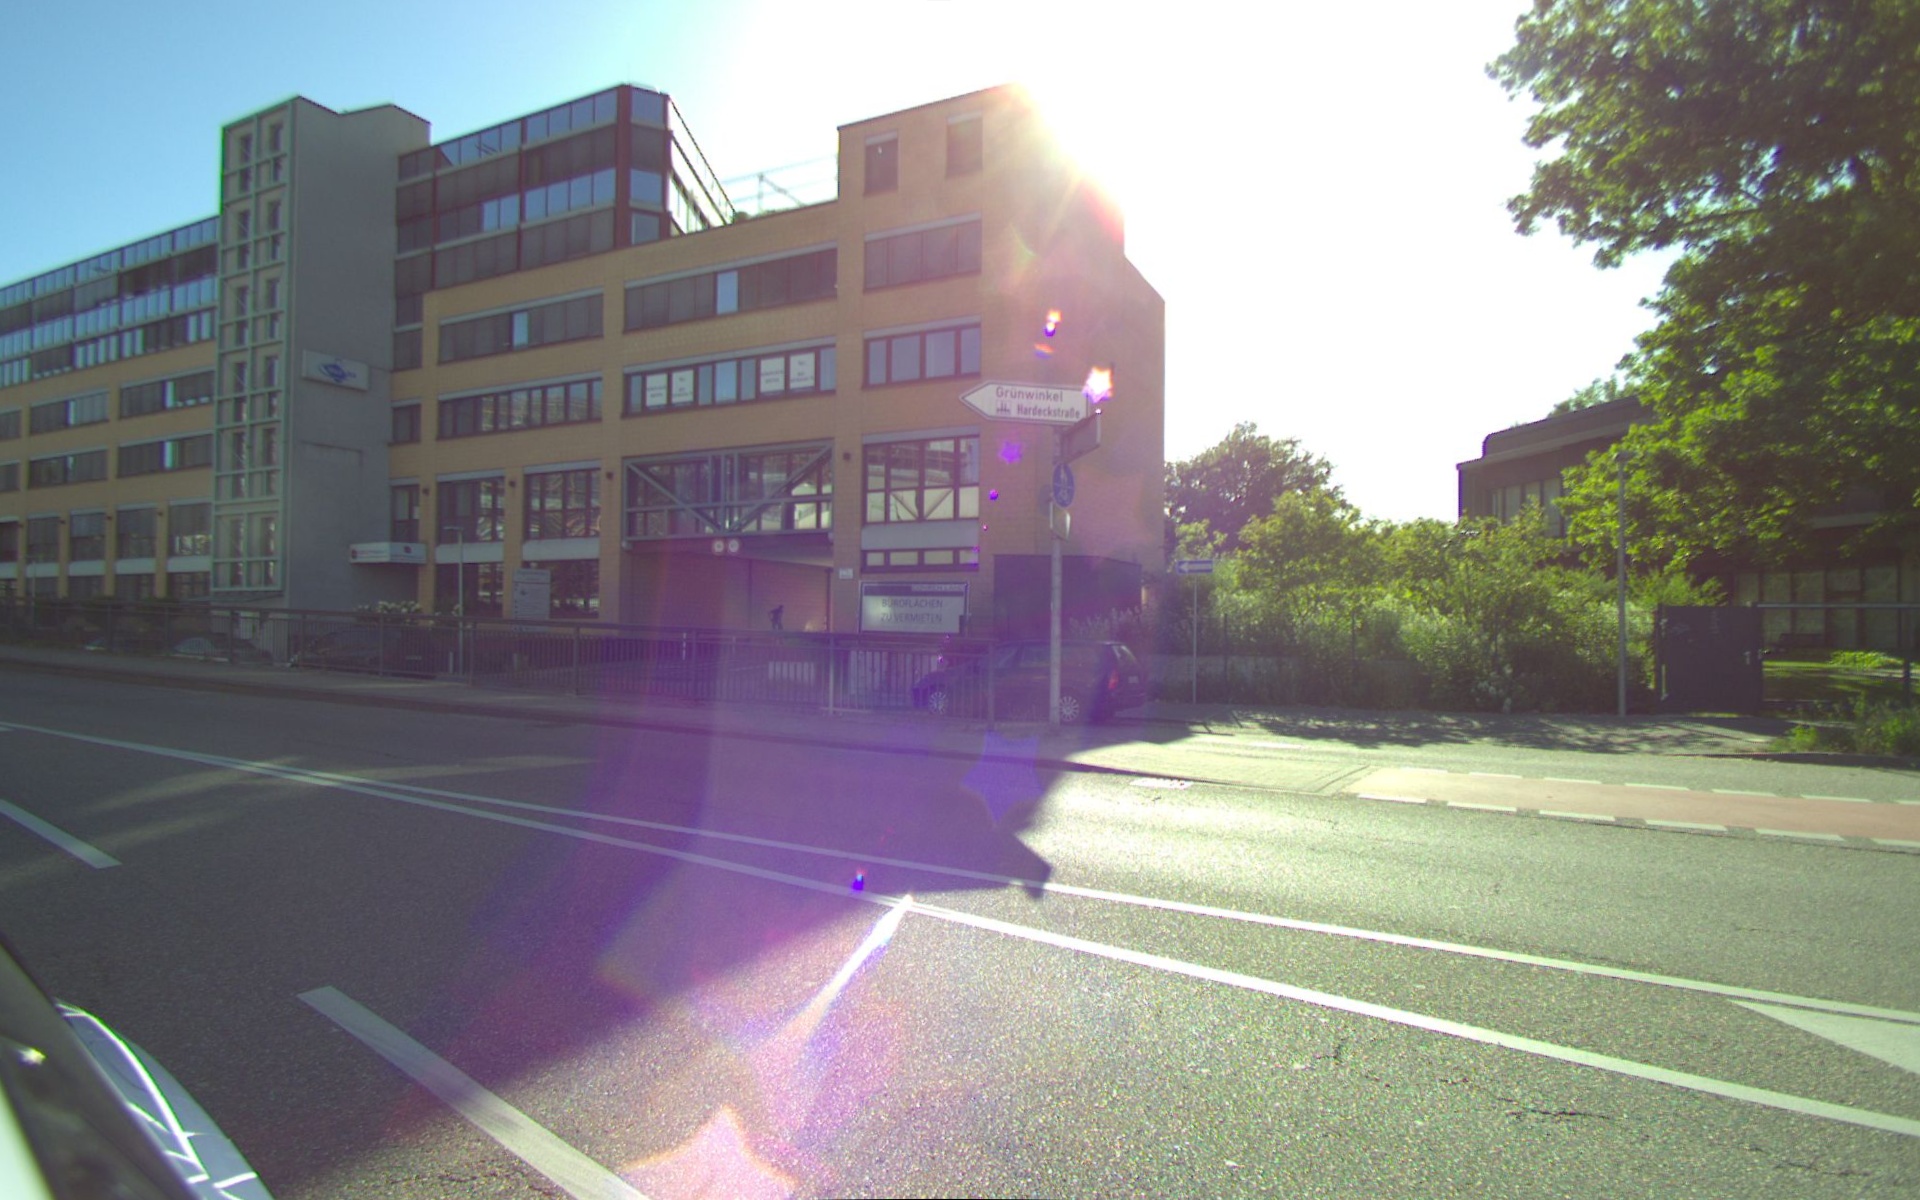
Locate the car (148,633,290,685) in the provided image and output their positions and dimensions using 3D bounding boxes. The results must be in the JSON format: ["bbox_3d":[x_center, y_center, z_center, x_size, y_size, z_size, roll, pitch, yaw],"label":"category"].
[{"bbox_3d":[-23.161,1.807,31.633,4.138,1.535,1.864,-1,-2,26],"label":"car"}]

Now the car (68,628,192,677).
[{"bbox_3d":[-28.013,1.738,34.152,3.982,1.576,1.867,-1,-2,29],"label":"car"}]

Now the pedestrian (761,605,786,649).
[{"bbox_3d":[-7.894,1.136,42.807,0.703,1.865,0.739,-1,0,32],"label":"pedestrian"}]

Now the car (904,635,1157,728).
[{"bbox_3d":[1.243,1.465,18.541,4.362,1.520,1.642,-2,-5,31],"label":"car"}]

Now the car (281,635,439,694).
[{"bbox_3d":[-16.453,1.720,27.748,4.135,1.535,1.626,-1,-2,24],"label":"car"}]
